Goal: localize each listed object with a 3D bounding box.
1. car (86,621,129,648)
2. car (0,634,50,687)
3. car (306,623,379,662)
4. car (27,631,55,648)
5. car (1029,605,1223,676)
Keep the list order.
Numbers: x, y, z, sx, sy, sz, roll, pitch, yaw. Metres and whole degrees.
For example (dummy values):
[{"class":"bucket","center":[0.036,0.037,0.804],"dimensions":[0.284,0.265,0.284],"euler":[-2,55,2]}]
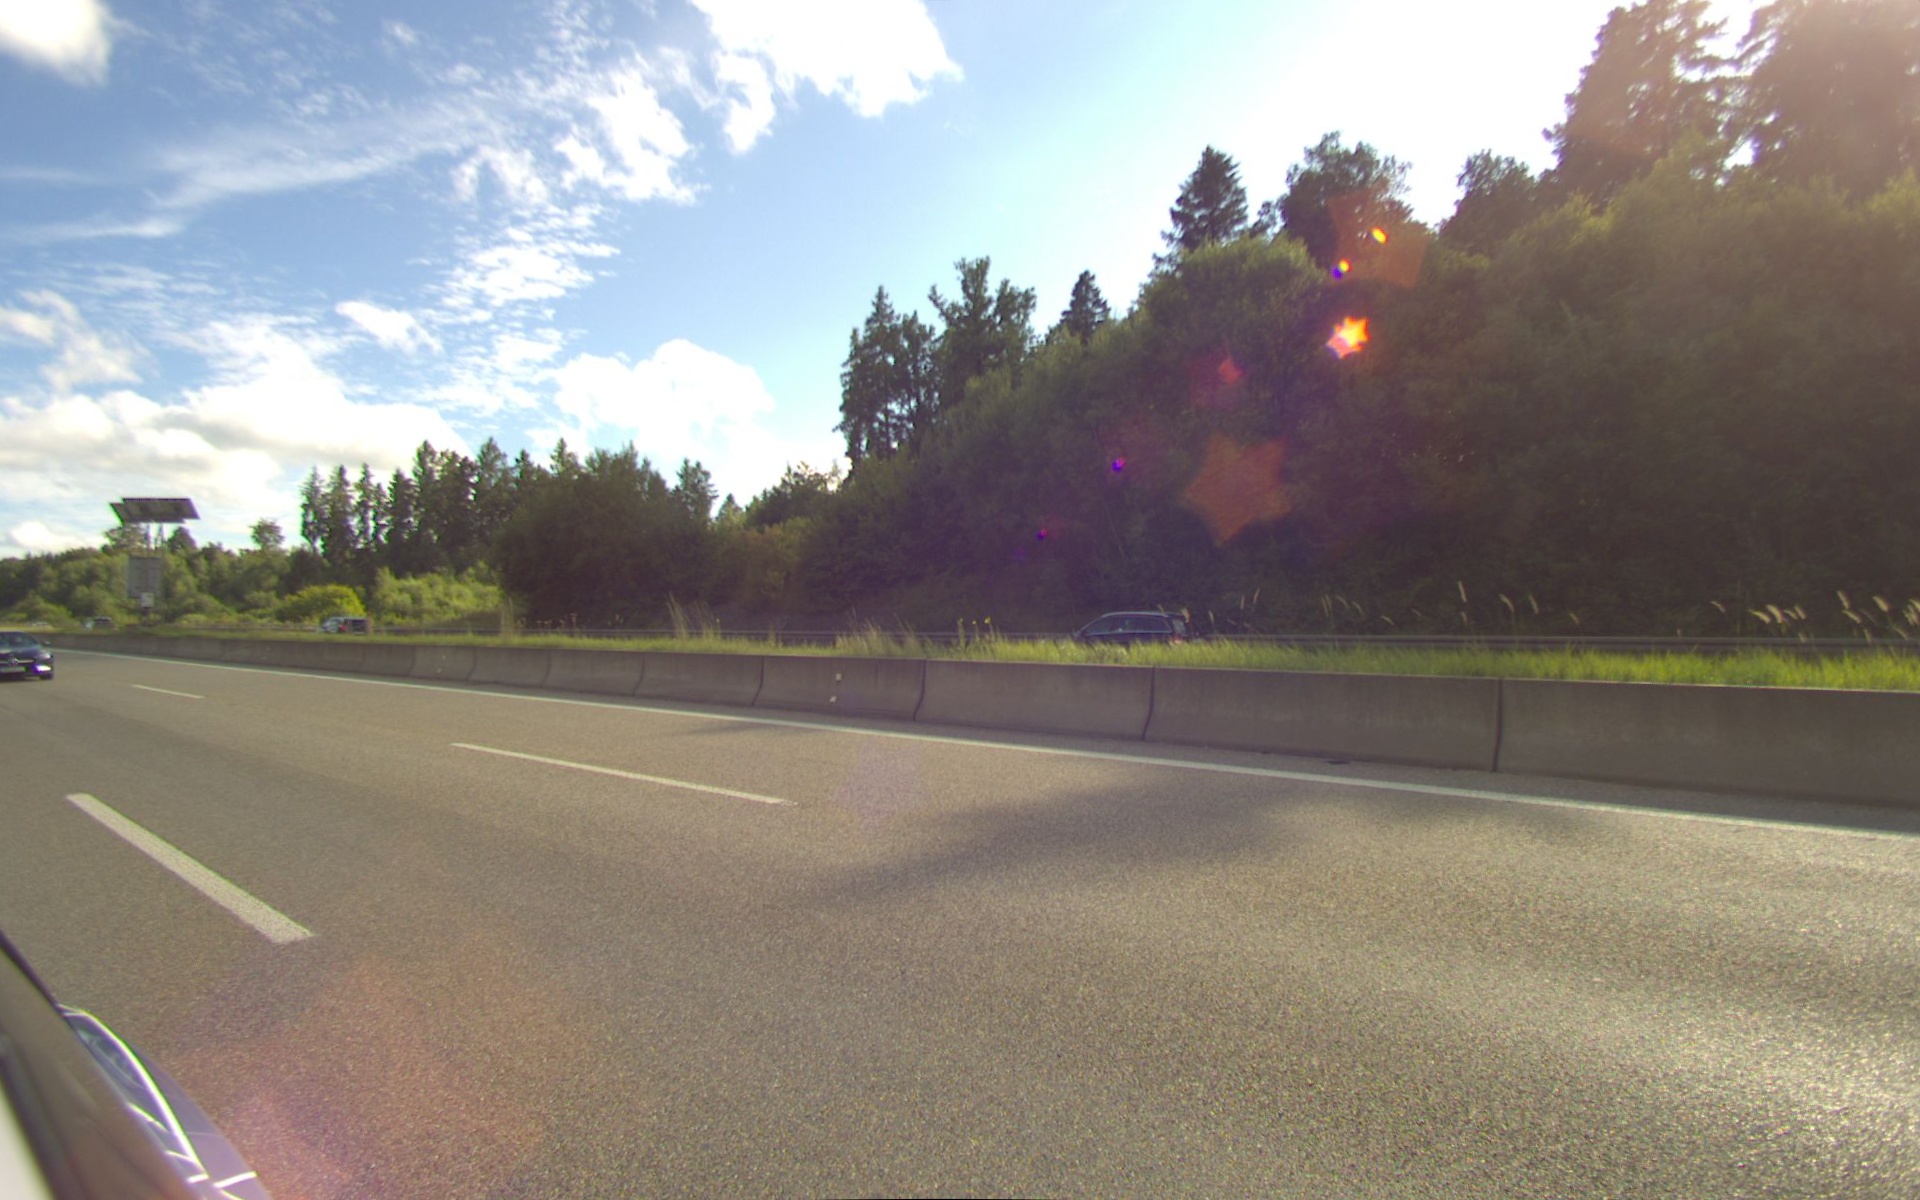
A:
[{"class":"car","center":[-67.760,2.752,80.439],"dimensions":[4.069,2.029,1.973],"euler":[-2,-1,41]},{"class":"car","center":[-25.300,1.552,26.520],"dimensions":[4.197,1.293,1.726],"euler":[-2,-1,42]},{"class":"car","center":[-31.992,2.192,52.380],"dimensions":[4.435,1.895,1.973],"euler":[-2,-1,41]},{"class":"car","center":[-109.057,4.706,120.089],"dimensions":[4.426,1.920,1.906],"euler":[-2,-1,40]},{"class":"car","center":[4.152,0.990,25.785],"dimensions":[4.567,1.640,1.860],"euler":[-2,-1,41]}]
